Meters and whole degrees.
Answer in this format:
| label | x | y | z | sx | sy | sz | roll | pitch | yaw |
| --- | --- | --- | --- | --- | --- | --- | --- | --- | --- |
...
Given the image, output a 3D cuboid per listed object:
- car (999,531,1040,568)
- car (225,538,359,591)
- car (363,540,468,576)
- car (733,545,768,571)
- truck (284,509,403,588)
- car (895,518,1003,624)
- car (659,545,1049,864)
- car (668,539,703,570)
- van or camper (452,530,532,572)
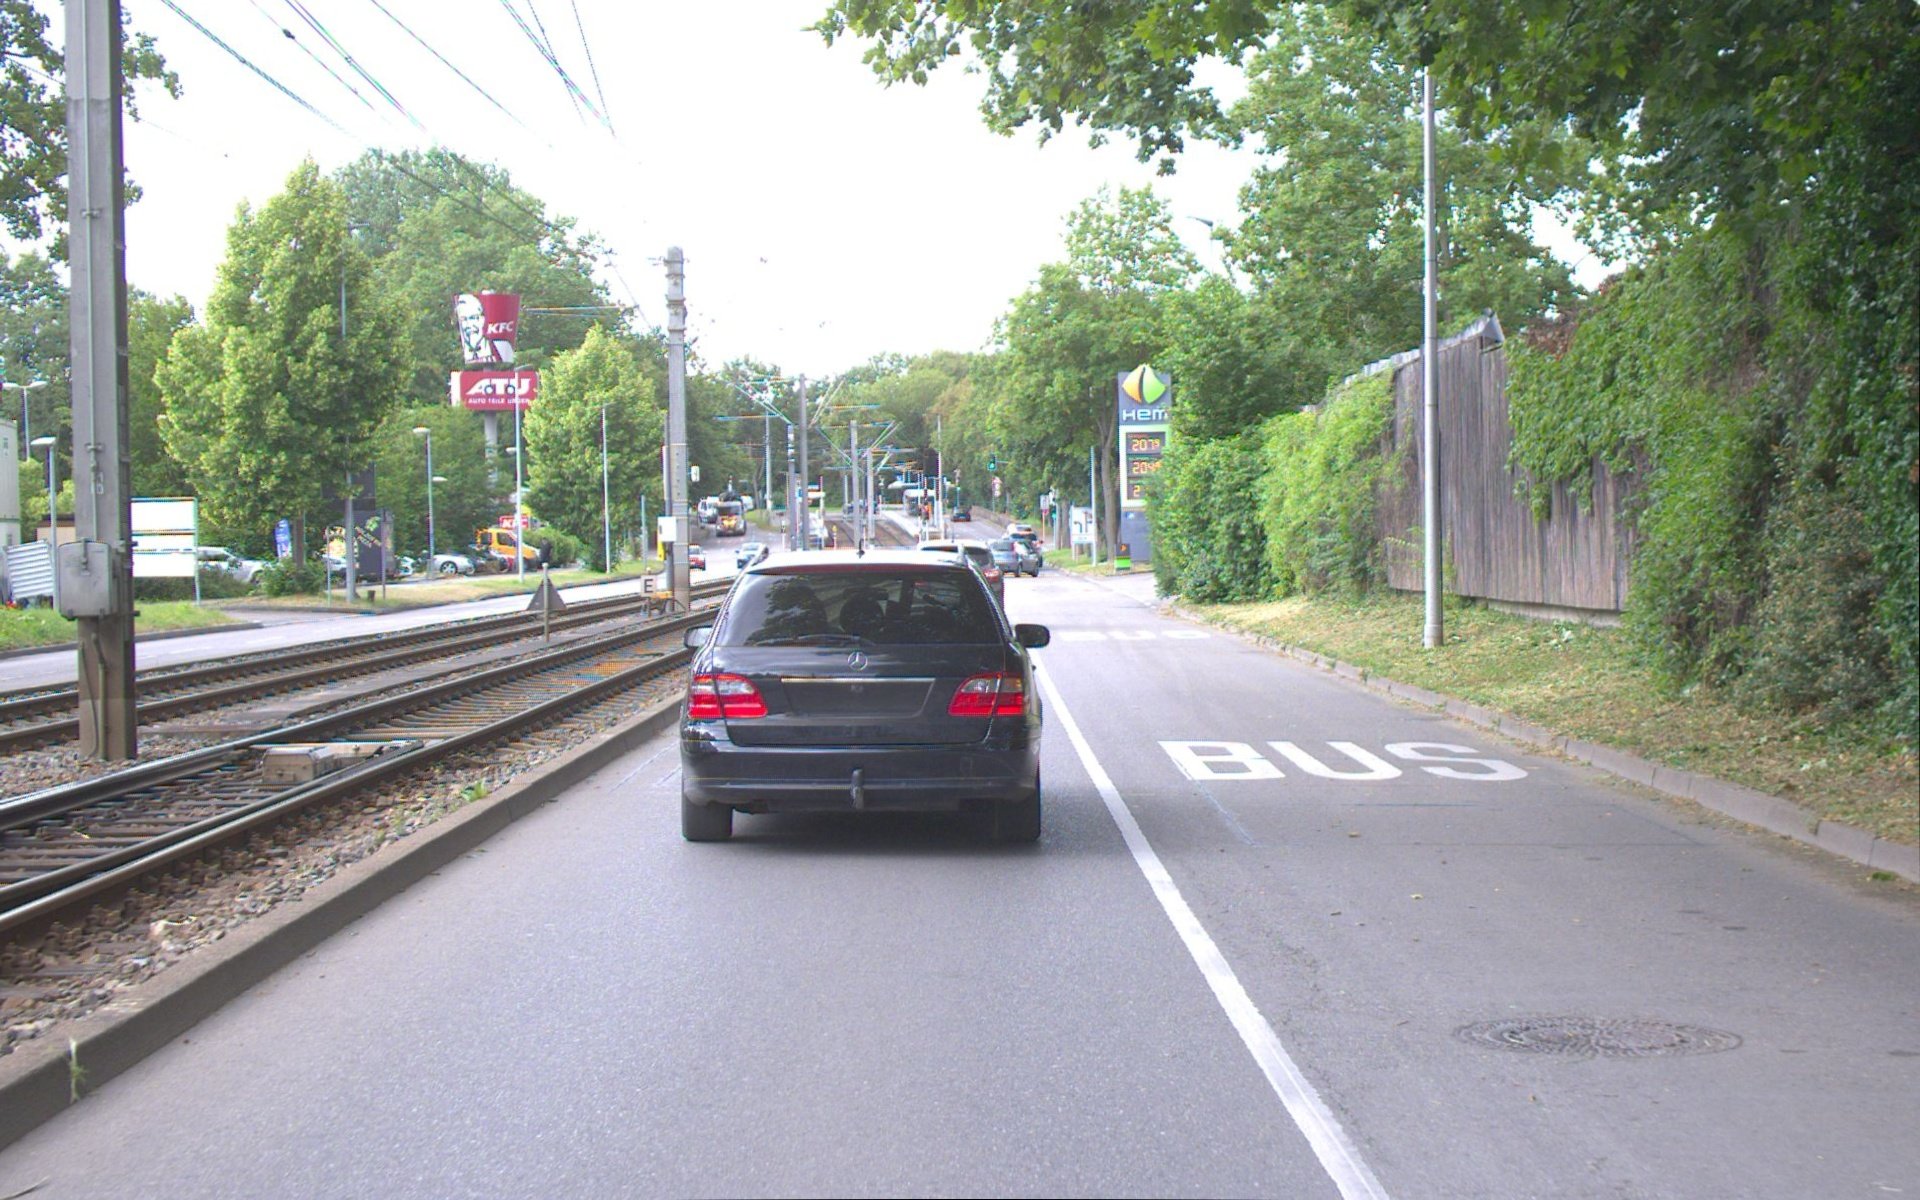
| label | x | y | z | sx | sy | sz | roll | pitch | yaw |
| --- | --- | --- | --- | --- | --- | --- | --- | --- | --- |
| car | 2.333 | -1.993 | 135.511 | 1.571 | 1.410 | 3.354 | 1 | 0 | 0 |
| car | -23.058 | -1.234 | 118.767 | 4.220 | 1.721 | 1.996 | -1 | 1 | -1 |
| car | -23.808 | -1.844 | 150.423 | 4.306 | 1.467 | 1.680 | -1 | 1 | -2 |
| car | -12.202 | -2.444 | 200.436 | 1.759 | 1.396 | 4.444 | -4 | 1 | -1 |
| truck | -22.909 | -1.931 | 127.816 | 3.986 | 2.812 | 2.376 | -1 | 1 | -2 |
| car | -0.179 | -0.496 | 59.024 | 1.780 | 1.744 | 3.718 | 1 | 0 | 0 |
| car | -0.485 | 0.457 | 17.935 | 1.808 | 1.469 | 3.881 | 0 | 1 | 0 |
| car | -15.855 | -2.629 | 198.869 | 1.792 | 1.766 | 4.000 | -1 | 1 | -2 |
| van or camper | -24.075 | -2.533 | 176.907 | 3.986 | 2.127 | 1.878 | 0 | 1 | -4 |
